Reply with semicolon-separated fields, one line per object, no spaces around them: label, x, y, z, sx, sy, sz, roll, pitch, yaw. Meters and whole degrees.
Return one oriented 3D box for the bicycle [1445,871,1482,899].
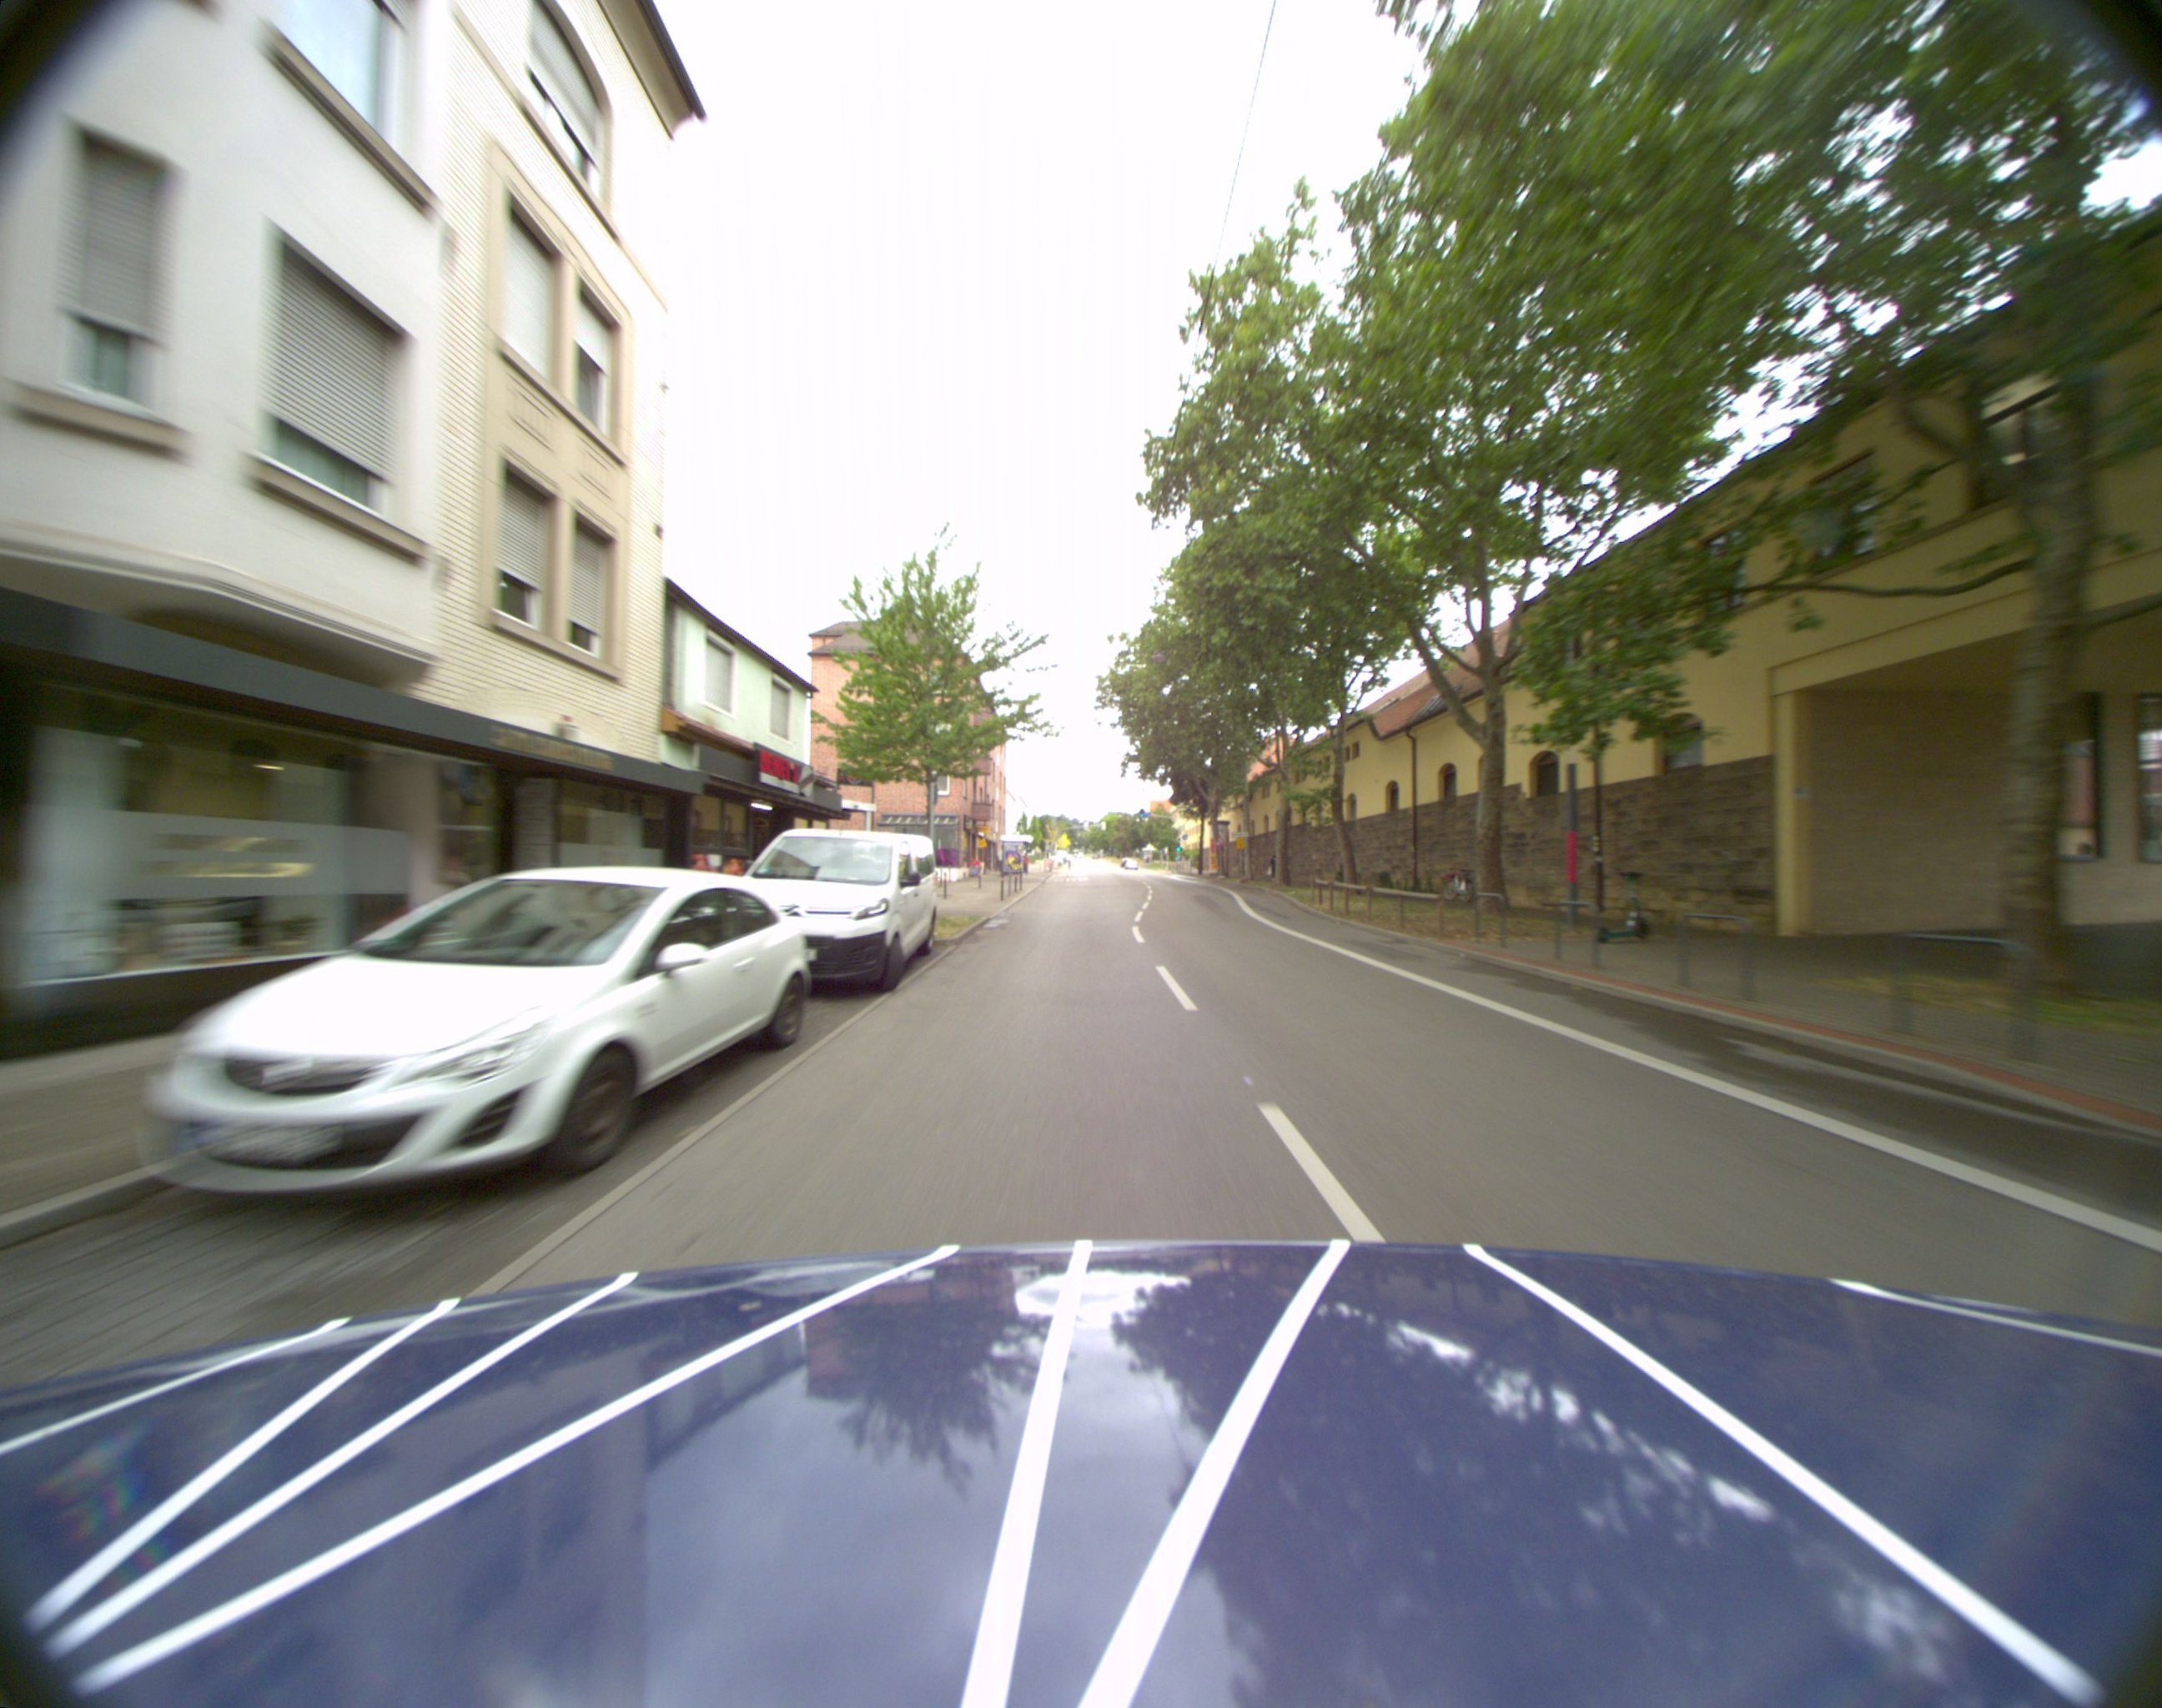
bicycle;12.621;0.995;25.131;0.336;0.841;1.776;-1;0;0

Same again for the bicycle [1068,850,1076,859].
bicycle;-1.093;0.084;89.623;0.368;0.986;1.723;-1;1;17

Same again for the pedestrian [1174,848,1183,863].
pedestrian;10.524;0.158;81.775;0.854;1.677;0.932;-2;1;2

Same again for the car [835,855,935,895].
car;-8.784;0.920;34.029;3.990;1.663;1.927;-1;1;26

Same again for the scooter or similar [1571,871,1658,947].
scooter or similar;9.482;0.954;13.495;1.622;1.233;0.446;-2;1;-22

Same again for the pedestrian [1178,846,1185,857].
pedestrian;18.235;-0.521;137.578;1.043;1.979;1.097;-2;1;2

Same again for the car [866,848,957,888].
car;-8.234;0.674;36.950;3.927;1.787;1.956;-1;1;28

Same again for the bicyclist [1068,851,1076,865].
bicyclist;-1.057;0.425;89.686;0.681;1.619;0.751;-1;1;17

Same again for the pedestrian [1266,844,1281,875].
pedestrian;11.931;0.346;47.139;0.673;1.865;0.816;-1;1;2

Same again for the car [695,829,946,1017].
car;-3.131;0.715;10.320;1.912;1.919;4.918;1;0;-3

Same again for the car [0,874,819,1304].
car;-3.232;0.905;4.777;1.687;1.407;4.042;2;0;1

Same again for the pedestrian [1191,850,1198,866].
pedestrian;12.031;0.397;80.825;0.625;1.653;0.549;-2;1;2

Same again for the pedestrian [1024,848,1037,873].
pedestrian;-4.185;0.548;62.978;0.785;2.002;0.859;-1;1;21

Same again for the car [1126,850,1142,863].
car;7.563;0.361;107.788;1.919;1.640;3.634;-2;1;7
